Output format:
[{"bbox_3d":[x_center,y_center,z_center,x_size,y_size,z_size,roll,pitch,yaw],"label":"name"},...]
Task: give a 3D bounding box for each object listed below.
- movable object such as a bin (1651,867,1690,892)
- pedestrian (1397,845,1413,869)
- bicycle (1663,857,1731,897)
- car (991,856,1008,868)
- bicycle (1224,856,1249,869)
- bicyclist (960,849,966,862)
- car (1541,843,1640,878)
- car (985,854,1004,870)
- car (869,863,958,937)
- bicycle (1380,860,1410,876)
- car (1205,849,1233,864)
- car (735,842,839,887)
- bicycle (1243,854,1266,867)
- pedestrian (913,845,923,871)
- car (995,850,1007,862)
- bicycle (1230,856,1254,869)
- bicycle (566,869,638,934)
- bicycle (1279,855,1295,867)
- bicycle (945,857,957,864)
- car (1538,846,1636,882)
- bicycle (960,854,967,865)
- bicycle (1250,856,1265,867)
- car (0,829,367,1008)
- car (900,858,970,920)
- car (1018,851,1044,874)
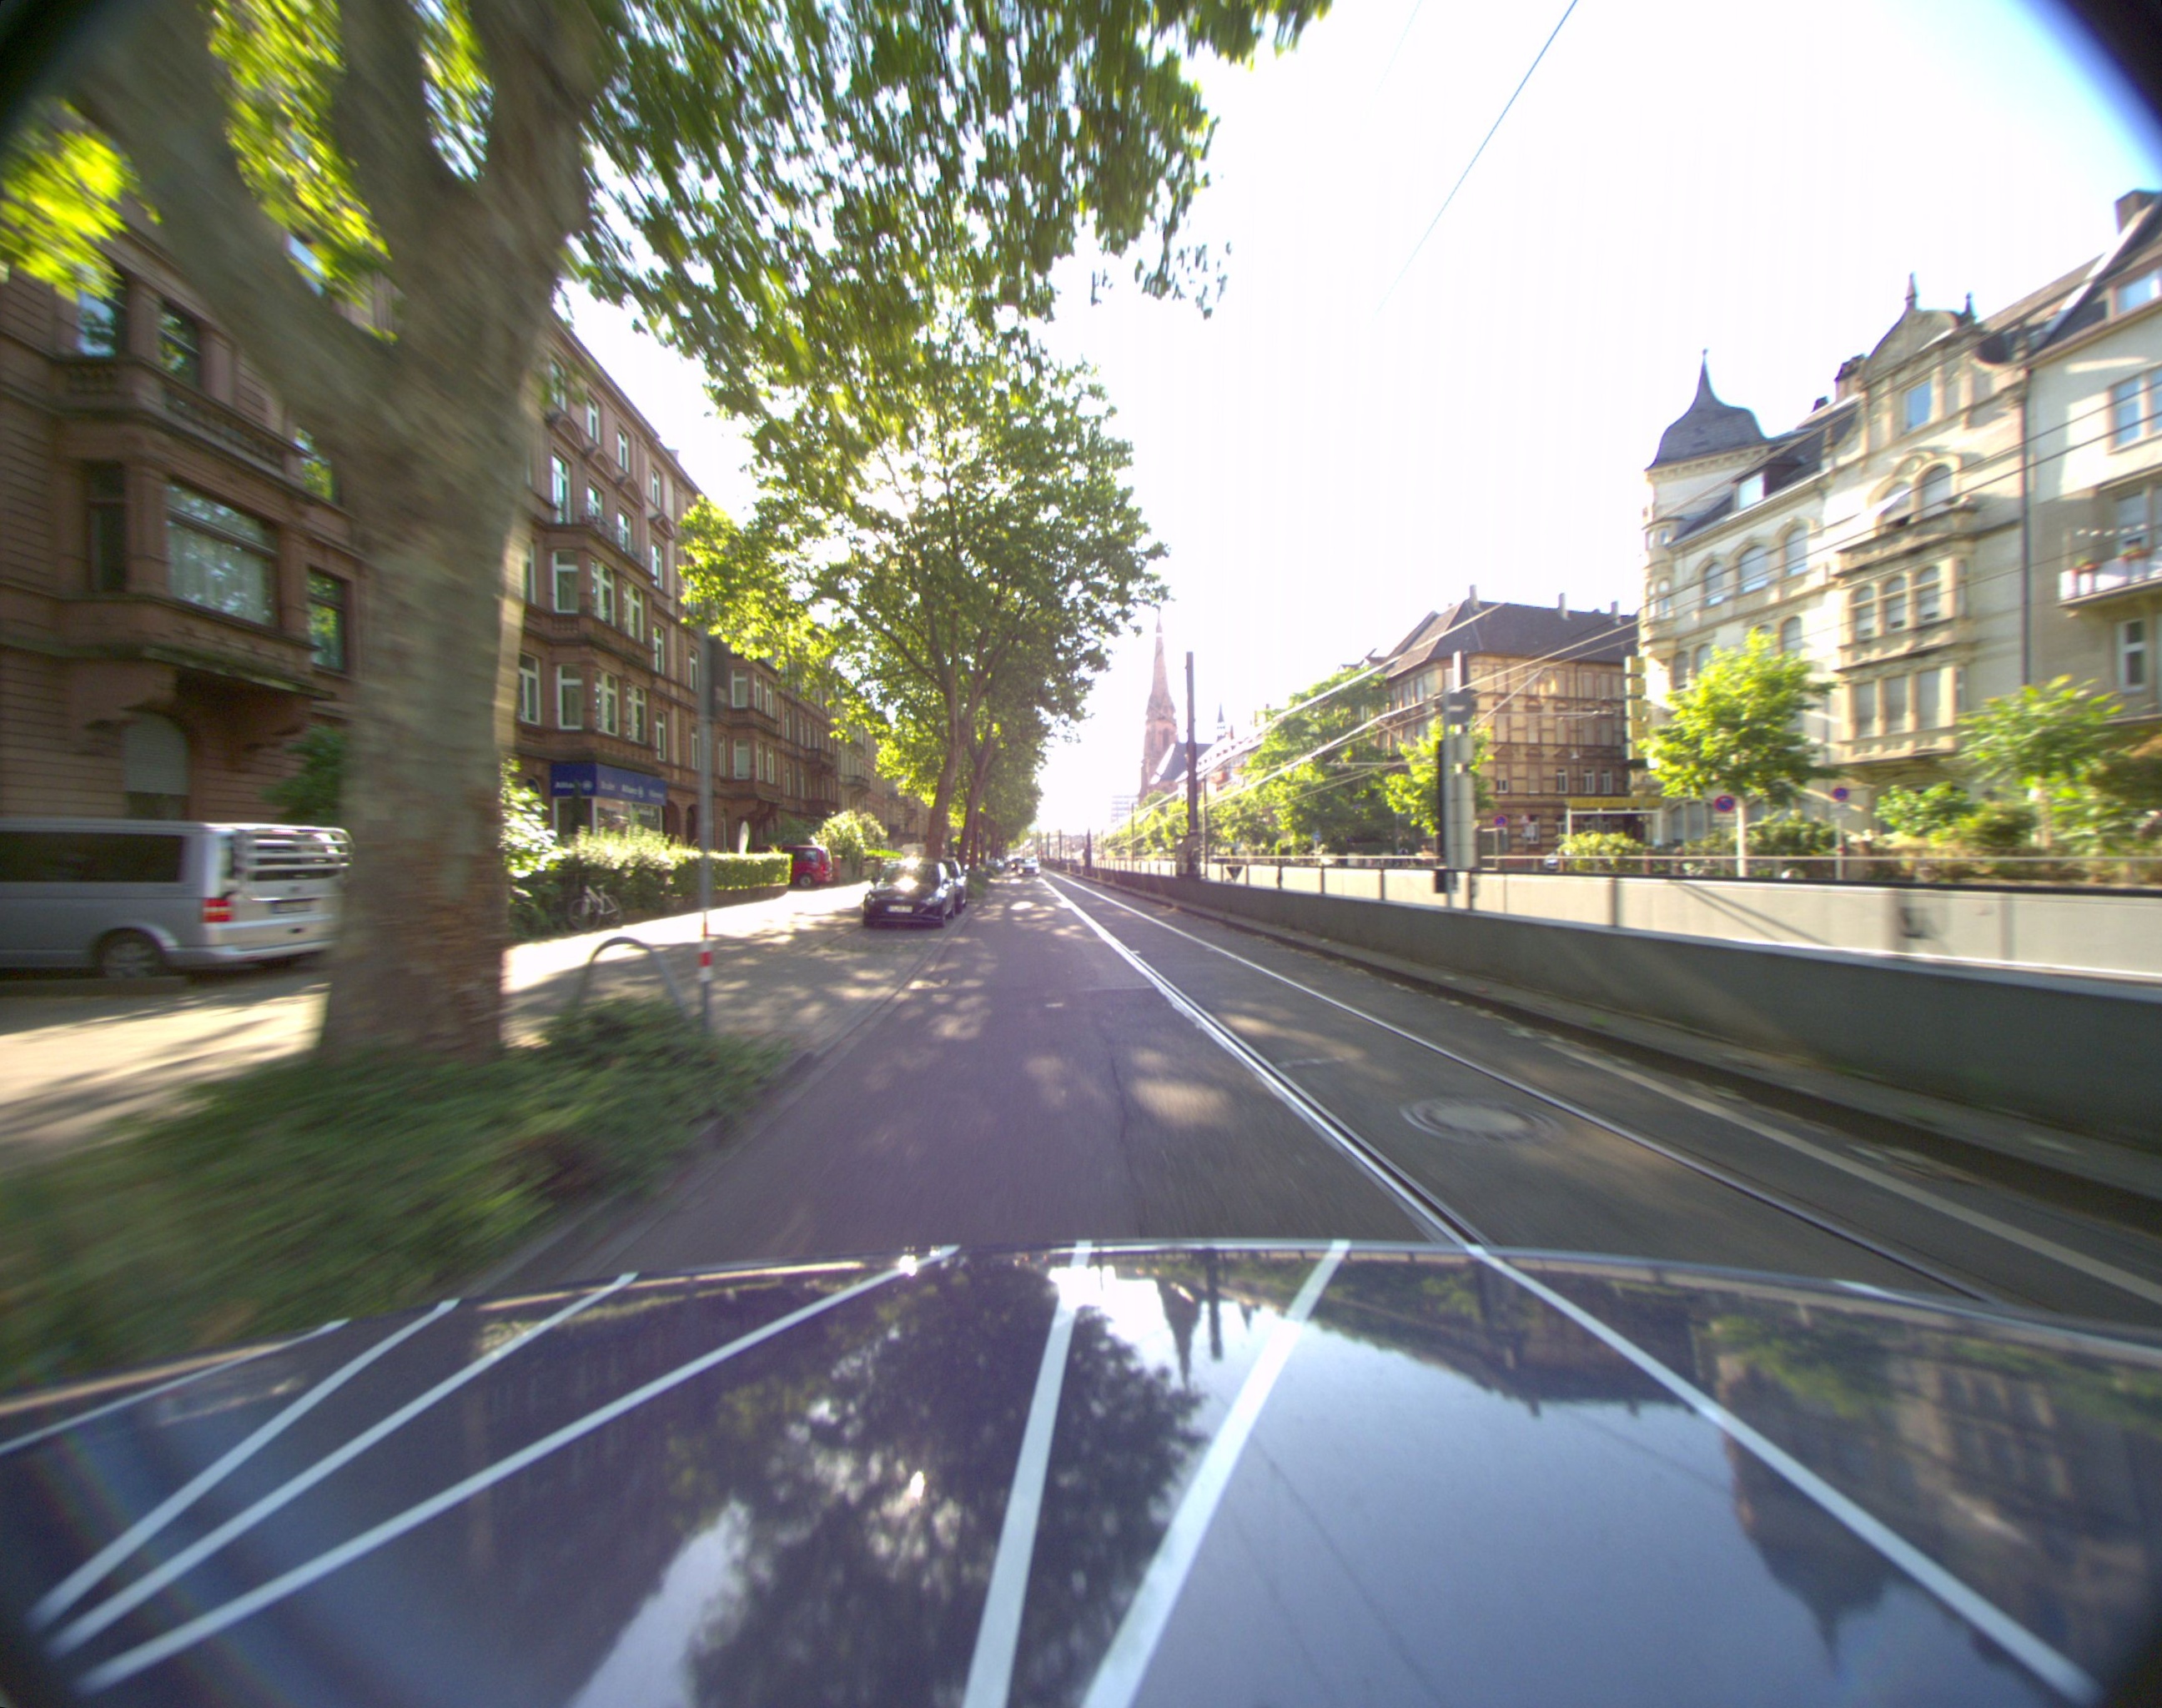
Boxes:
[{"bbox_3d":[23.539,1.013,30.356,0.899,0.914,0.783,-3,1,-10],"label":"movable object such as a bin"},{"bbox_3d":[23.748,0.224,55.642,0.721,1.679,0.864,-3,1,1],"label":"pedestrian"},{"bbox_3d":[20.285,0.752,25.048,1.735,1.272,0.599,-1,1,1],"label":"bicycle"},{"bbox_3d":[-9.279,0.894,86.571,1.835,1.319,3.998,-1,0,-5],"label":"car"},{"bbox_3d":[15.677,0.875,76.541,2.791,1.092,0.641,-4,1,-37],"label":"bicycle"},{"bbox_3d":[-13.047,0.133,84.184,0.544,1.372,0.644,-3,0,-6],"label":"bicyclist"},{"bbox_3d":[29.705,0.379,44.468,2.001,1.838,4.474,-4,0,-16],"label":"car"},{"bbox_3d":[-9.019,0.801,79.588,1.737,1.527,4.803,-1,0,-3],"label":"car"},{"bbox_3d":[-3.860,1.001,18.057,1.556,1.490,4.048,0,0,-5],"label":"car"},{"bbox_3d":[21.461,0.922,51.947,0.456,1.000,1.938,-4,4,-36],"label":"bicycle"},{"bbox_3d":[15.287,0.270,84.275,1.838,1.576,3.997,-3,0,-7],"label":"car"},{"bbox_3d":[-13.947,0.505,36.245,4.189,2.002,1.999,2,0,-6],"label":"car"},{"bbox_3d":[16.465,0.659,72.120,2.379,1.092,0.556,-4,1,-35],"label":"bicycle"},{"bbox_3d":[-12.509,0.315,58.310,0.675,2.002,0.633,-1,1,-5],"label":"pedestrian"},{"bbox_3d":[-13.028,0.352,123.905,2.000,2.002,5.199,0,0,-6],"label":"car"},{"bbox_3d":[16.127,0.852,76.013,2.791,1.092,0.641,-4,1,-37],"label":"bicycle"},{"bbox_3d":[-10.018,0.957,15.956,0.338,1.242,1.766,-3,1,-1],"label":"bicycle"},{"bbox_3d":[19.537,0.664,72.117,0.557,1.092,2.374,-3,0,-5],"label":"bicycle"},{"bbox_3d":[-18.892,0.939,110.546,1.697,0.911,0.602,-1,1,-16],"label":"bicycle"},{"bbox_3d":[25.225,0.480,37.900,4.001,1.615,1.823,-2,0,-14],"label":"car"},{"bbox_3d":[-13.021,0.564,84.152,0.562,1.171,2.225,-3,0,-6],"label":"bicycle"},{"bbox_3d":[16.616,0.691,71.516,1.271,0.900,0.538,-4,1,-35],"label":"bicycle"},{"bbox_3d":[-12.134,0.714,9.409,4.586,2.002,1.913,1,1,-5],"label":"car"},{"bbox_3d":[-4.181,0.930,22.301,1.621,1.578,4.414,0,0,-5],"label":"car"},{"bbox_3d":[-3.987,0.648,61.046,1.823,1.729,3.999,-1,1,0],"label":"car"}]
